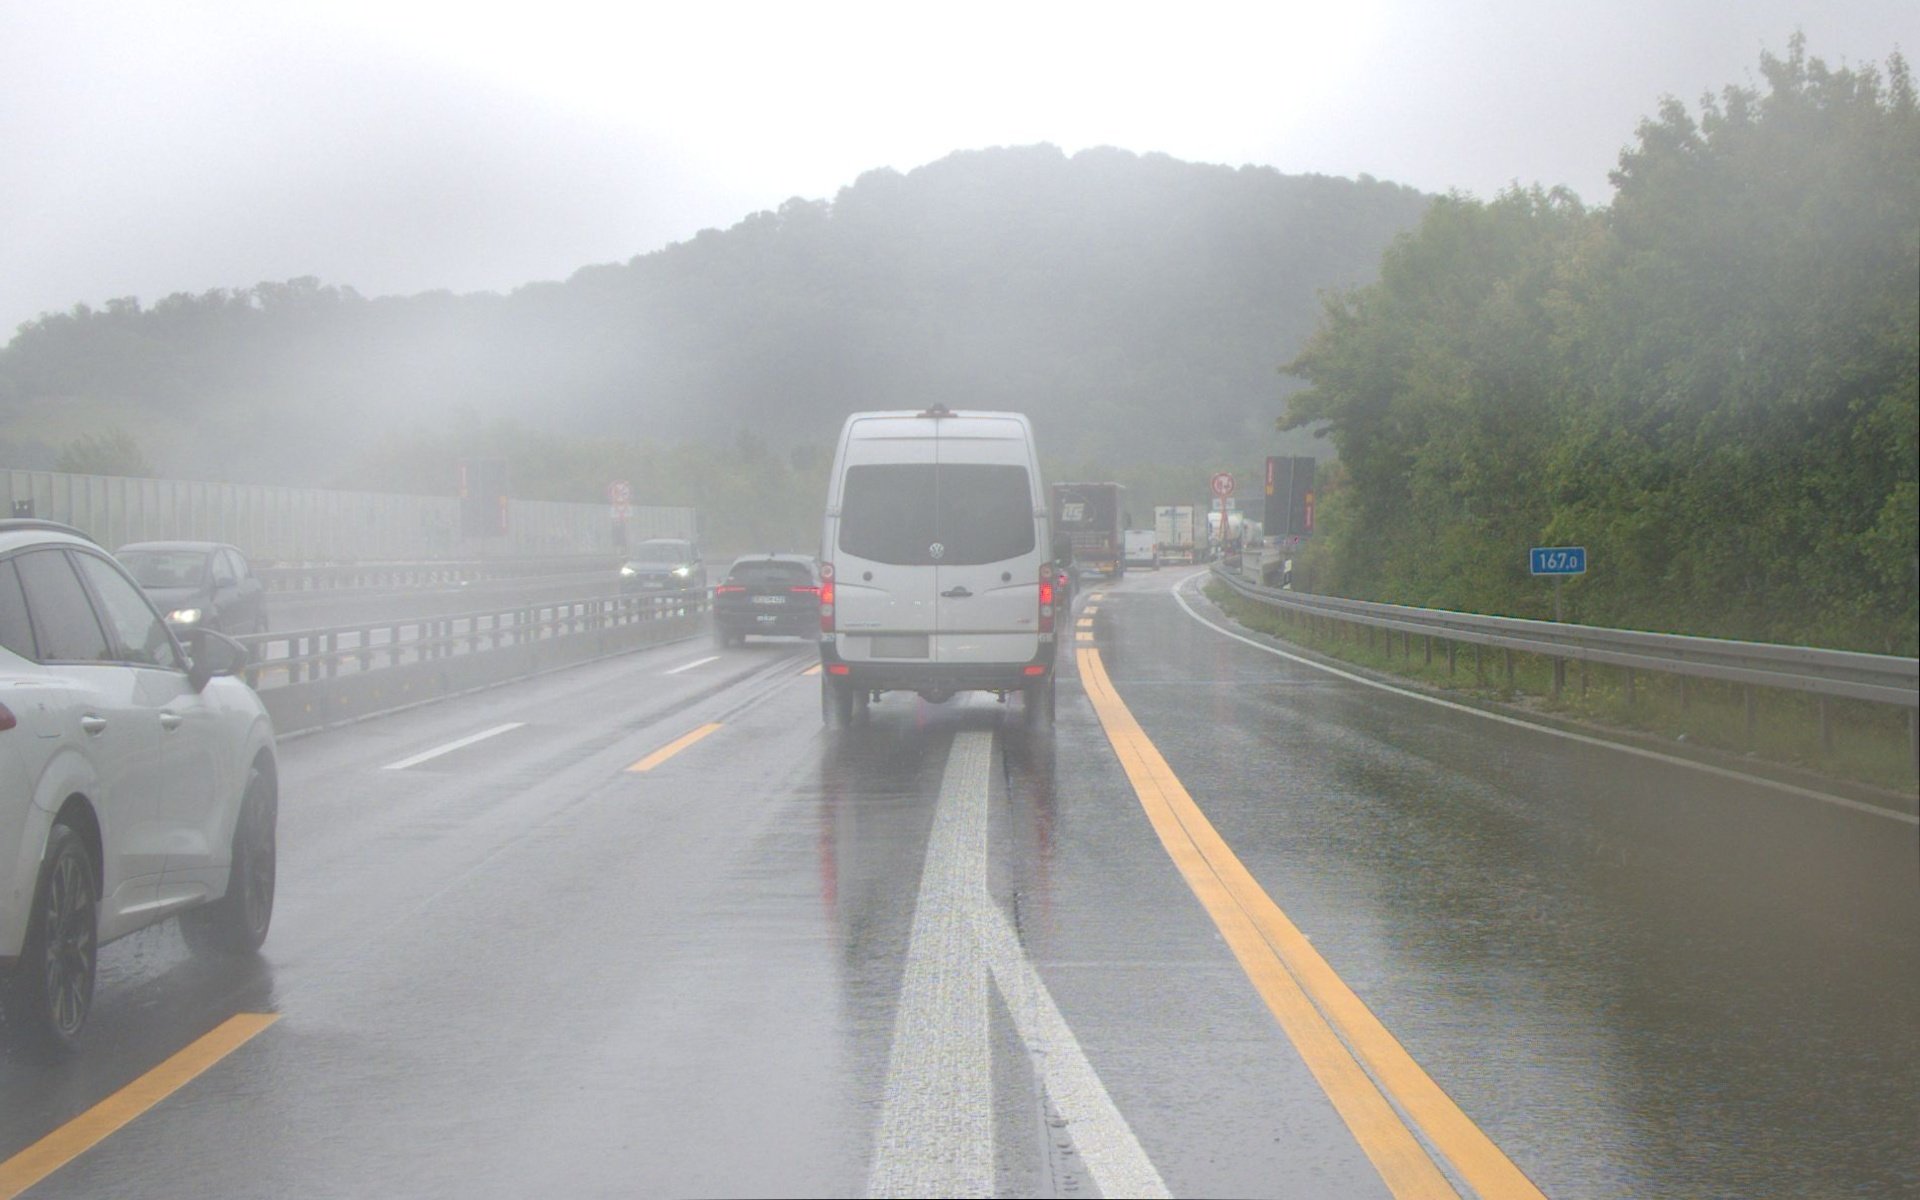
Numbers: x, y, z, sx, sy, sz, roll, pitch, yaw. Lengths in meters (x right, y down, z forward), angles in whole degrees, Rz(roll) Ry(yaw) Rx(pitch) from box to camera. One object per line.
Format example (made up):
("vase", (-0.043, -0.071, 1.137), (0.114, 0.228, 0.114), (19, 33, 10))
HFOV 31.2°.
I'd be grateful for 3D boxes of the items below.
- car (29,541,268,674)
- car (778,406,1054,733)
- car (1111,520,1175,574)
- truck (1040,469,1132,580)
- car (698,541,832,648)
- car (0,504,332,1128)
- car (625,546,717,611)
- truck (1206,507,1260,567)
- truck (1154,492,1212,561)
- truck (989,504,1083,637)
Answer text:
("car", (-9.750, 0.067, 41.612), (1.847, 1.497, 4.130), (1, 1, 1))
("car", (-0.279, -0.269, 30.076), (2.145, 2.562, 5.389), (1, 1, 2))
("car", (10.171, -2.894, 190.295), (2.899, 2.877, 6.409), (1, 1, 9))
("truck", (5.233, -3.063, 142.471), (3.581, 4.391, 9.623), (1, 1, 2))
("car", (-3.016, -0.103, 52.893), (1.946, 1.556, 4.001), (1, 1, -4))
("car", (-3.480, 0.514, 11.206), (1.993, 1.612, 4.796), (1, 1, 0))
("car", (-7.414, -0.560, 88.557), (1.778, 1.599, 4.316), (1, 1, 3))
("truck", (20.642, -4.719, 259.542), (2.900, 4.391, 9.619), (1, 1, 11))
("truck", (14.755, -4.789, 226.652), (3.037, 4.391, 9.621), (1, 1, 8))
("truck", (1.932, -0.725, 85.295), (1.994, 3.098, 8.498), (1, 1, 3))
